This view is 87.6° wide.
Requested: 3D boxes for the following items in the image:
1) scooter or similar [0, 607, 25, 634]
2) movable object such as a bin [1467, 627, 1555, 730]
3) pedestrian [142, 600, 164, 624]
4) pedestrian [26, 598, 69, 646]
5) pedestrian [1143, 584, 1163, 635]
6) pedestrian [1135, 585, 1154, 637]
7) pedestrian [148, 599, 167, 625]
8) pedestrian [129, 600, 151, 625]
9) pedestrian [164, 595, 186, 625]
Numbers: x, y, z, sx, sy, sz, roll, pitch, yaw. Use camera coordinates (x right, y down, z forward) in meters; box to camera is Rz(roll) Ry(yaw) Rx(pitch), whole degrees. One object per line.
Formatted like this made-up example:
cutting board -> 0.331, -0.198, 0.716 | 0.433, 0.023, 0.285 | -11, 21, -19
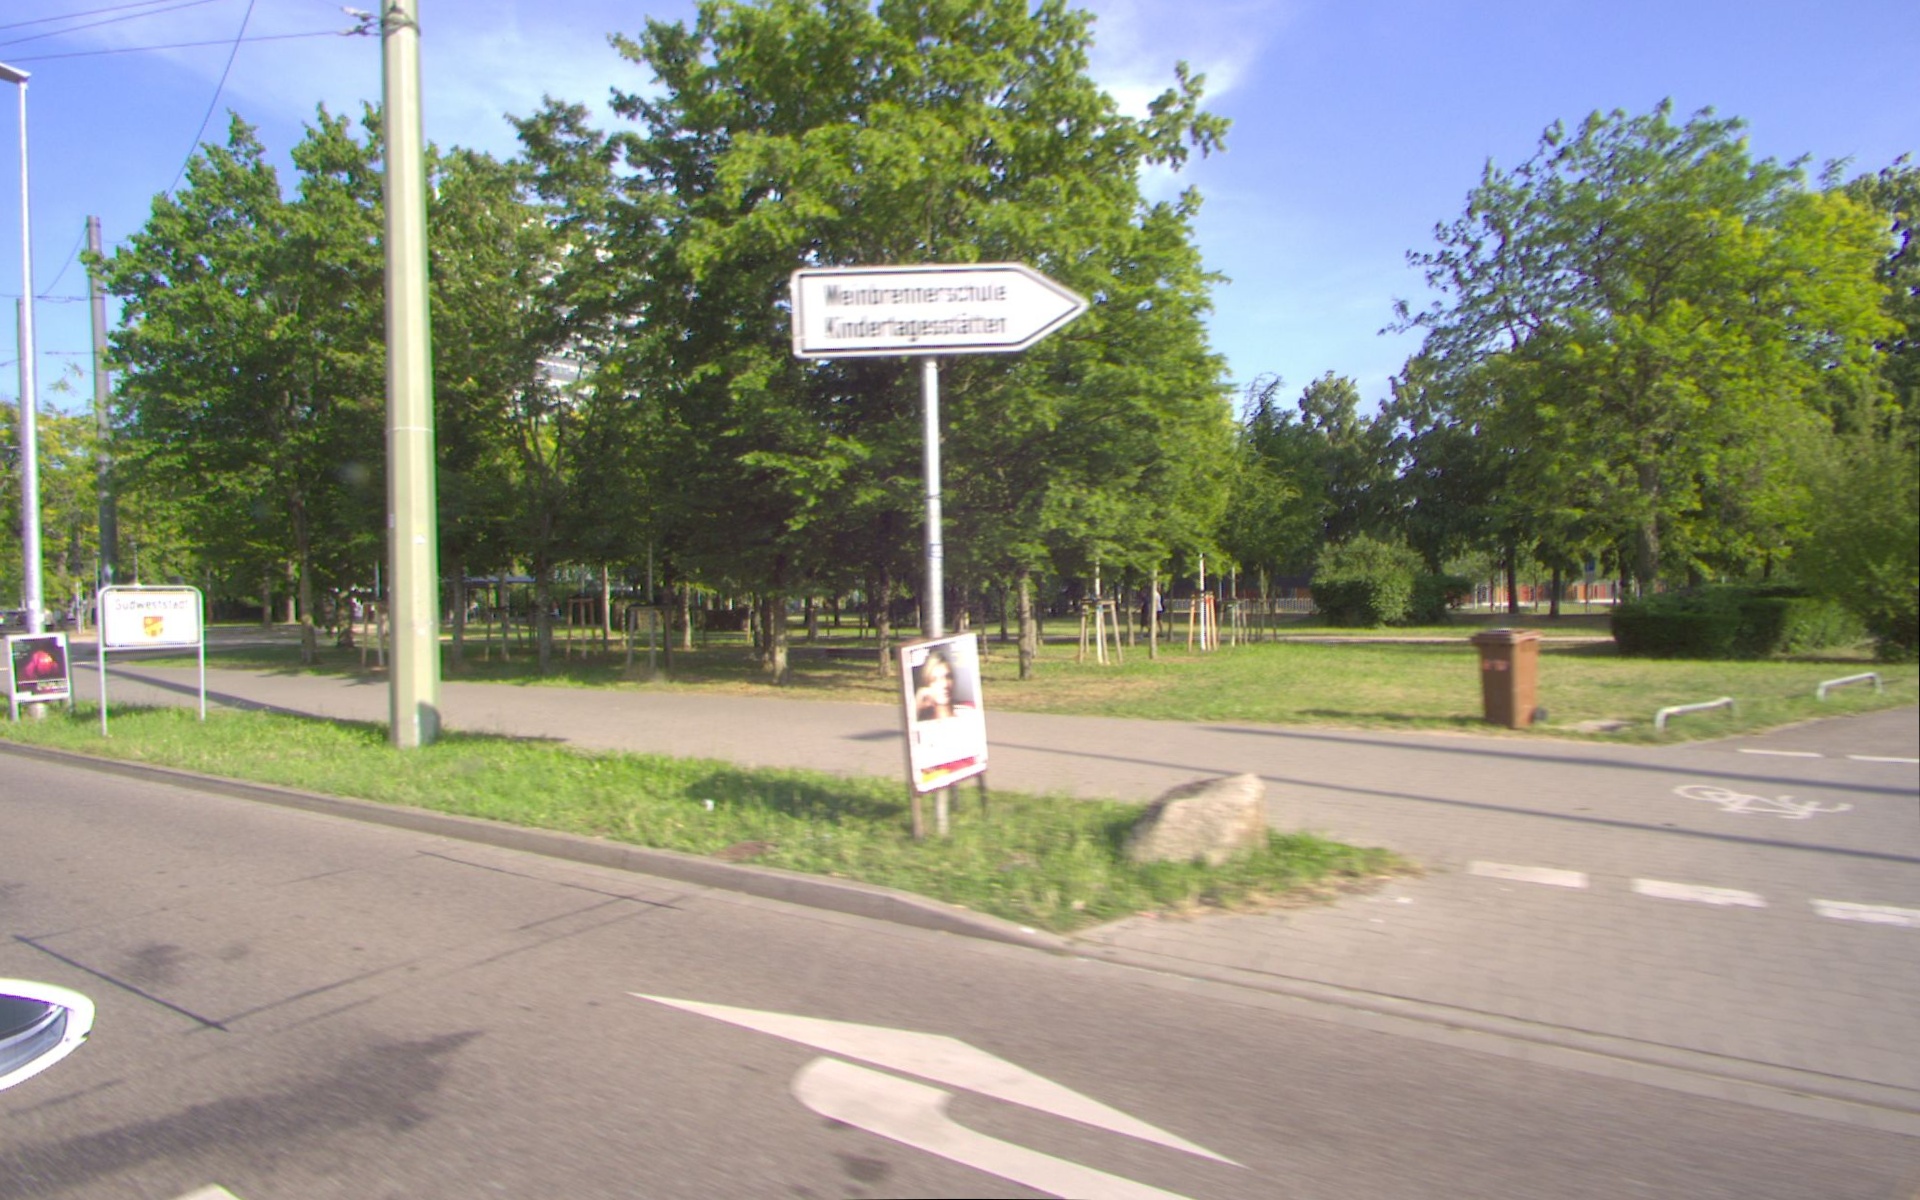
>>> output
scooter or similar -> -40.144, 0.861, 42.197 | 1.305, 1.132, 0.420 | -1, 1, 12
movable object such as a bin -> 5.259, 0.737, 9.564 | 0.594, 0.930, 0.455 | -1, 1, -17
pedestrian -> -49.828, 0.738, 61.818 | 0.688, 1.507, 0.813 | 0, 1, 21
pedestrian -> -31.959, 0.765, 35.080 | 0.793, 1.659, 0.754 | -1, 1, -7
pedestrian -> 7.025, 0.331, 36.432 | 0.617, 1.836, 0.502 | -1, 1, 3
pedestrian -> 6.585, 0.390, 35.760 | 0.617, 1.836, 0.502 | -1, 1, 6
pedestrian -> -48.721, 0.725, 60.777 | 0.805, 1.507, 0.696 | -1, 1, -33
pedestrian -> -49.761, 0.778, 60.791 | 0.687, 1.507, 0.815 | -1, 1, -9
pedestrian -> -48.987, 0.619, 62.507 | 0.826, 1.809, 0.799 | 0, 1, 28
